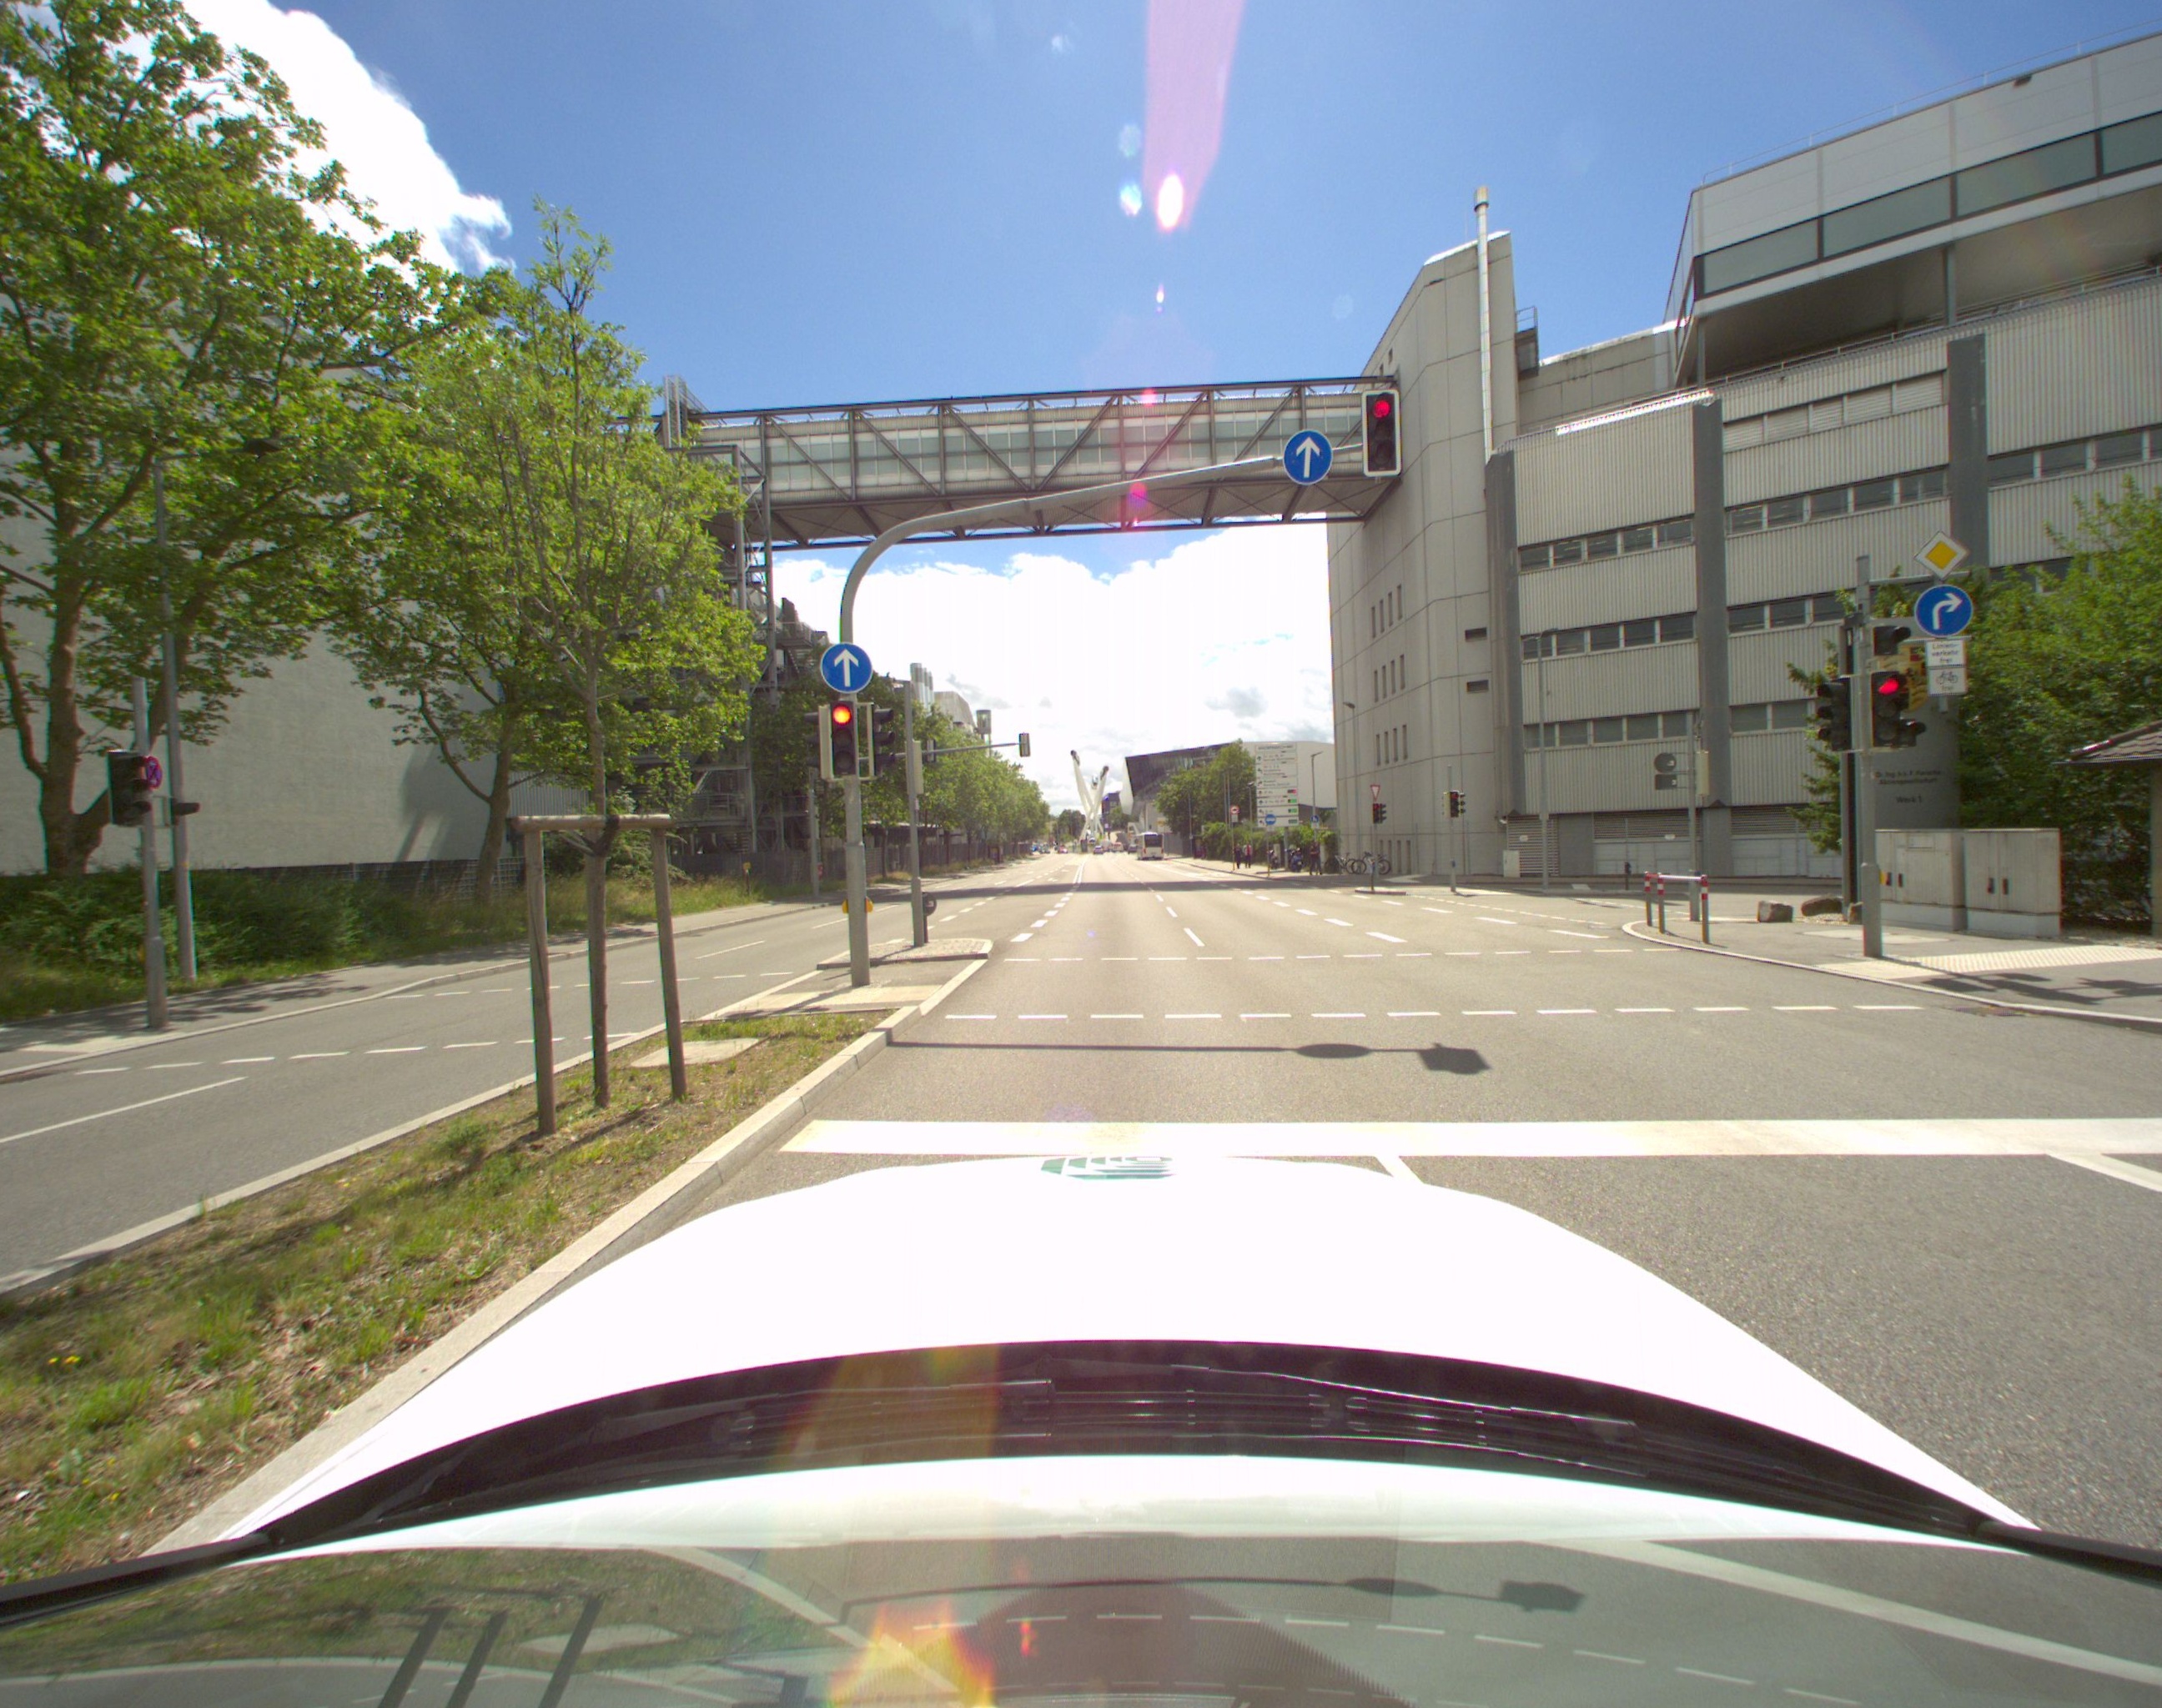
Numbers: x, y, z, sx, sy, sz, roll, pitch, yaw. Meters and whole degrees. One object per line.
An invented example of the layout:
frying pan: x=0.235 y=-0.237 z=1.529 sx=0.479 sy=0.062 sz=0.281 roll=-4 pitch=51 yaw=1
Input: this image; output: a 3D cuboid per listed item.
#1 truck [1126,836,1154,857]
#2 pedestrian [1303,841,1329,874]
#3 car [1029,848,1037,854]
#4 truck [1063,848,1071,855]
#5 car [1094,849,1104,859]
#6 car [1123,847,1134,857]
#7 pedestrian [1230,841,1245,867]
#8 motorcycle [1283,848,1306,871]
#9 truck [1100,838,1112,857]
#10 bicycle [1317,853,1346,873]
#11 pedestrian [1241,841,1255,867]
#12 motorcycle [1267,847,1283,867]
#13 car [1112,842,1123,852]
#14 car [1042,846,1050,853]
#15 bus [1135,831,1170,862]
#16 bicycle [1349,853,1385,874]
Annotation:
truck: x=12.553 y=-1.560 z=171.625 sx=3.424 sy=4.391 sz=9.466 roll=-1 pitch=0 yaw=19
pedestrian: x=11.660 y=0.174 z=40.432 sx=0.839 sy=1.624 sz=0.962 roll=-1 pitch=0 yaw=43
car: x=-13.206 y=-0.699 z=222.611 sx=1.813 sy=1.537 sz=3.678 roll=-3 pitch=0 yaw=0
truck: x=-3.128 y=-0.592 z=177.900 sx=1.580 sy=1.537 sz=3.673 roll=-1 pitch=0 yaw=-4
car: x=3.237 y=-0.091 z=146.899 sx=1.732 sy=1.741 sz=3.693 roll=-1 pitch=0 yaw=2
car: x=8.600 y=-0.408 z=147.482 sx=1.732 sy=1.741 sz=3.693 roll=-1 pitch=0 yaw=2
pedestrian: x=10.689 y=0.009 z=55.713 sx=0.817 sy=1.707 sz=0.881 roll=-1 pitch=0 yaw=1
motorcycle: x=11.714 y=0.300 z=44.754 sx=0.703 sy=1.203 sz=2.025 roll=-3 pitch=1 yaw=2
truck: x=5.334 y=-1.401 z=172.257 sx=2.383 sy=3.897 sz=6.180 roll=-1 pitch=0 yaw=2
bicycle: x=12.547 y=0.451 z=40.809 sx=0.398 sy=0.937 sz=1.917 roll=-1 pitch=0 yaw=-17
pedestrian: x=11.425 y=-0.010 z=55.614 sx=0.817 sy=1.741 sz=0.637 roll=-1 pitch=0 yaw=1
motorcycle: x=12.538 y=0.193 z=52.601 sx=0.572 sy=1.203 sz=2.025 roll=-3 pitch=1 yaw=2
car: x=7.435 y=-1.447 z=165.580 sx=1.984 sy=2.014 sz=4.005 roll=-1 pitch=-1 yaw=5
car: x=-8.190 y=-1.022 z=192.043 sx=1.815 sy=1.537 sz=3.674 roll=-3 pitch=0 yaw=-3
bus: x=8.694 y=-0.897 z=100.692 sx=3.441 sy=3.543 sz=10.606 roll=-1 pitch=0 yaw=0
bicycle: x=13.490 y=0.451 z=38.497 sx=0.399 sy=0.937 sz=1.913 roll=-1 pitch=0 yaw=-24
